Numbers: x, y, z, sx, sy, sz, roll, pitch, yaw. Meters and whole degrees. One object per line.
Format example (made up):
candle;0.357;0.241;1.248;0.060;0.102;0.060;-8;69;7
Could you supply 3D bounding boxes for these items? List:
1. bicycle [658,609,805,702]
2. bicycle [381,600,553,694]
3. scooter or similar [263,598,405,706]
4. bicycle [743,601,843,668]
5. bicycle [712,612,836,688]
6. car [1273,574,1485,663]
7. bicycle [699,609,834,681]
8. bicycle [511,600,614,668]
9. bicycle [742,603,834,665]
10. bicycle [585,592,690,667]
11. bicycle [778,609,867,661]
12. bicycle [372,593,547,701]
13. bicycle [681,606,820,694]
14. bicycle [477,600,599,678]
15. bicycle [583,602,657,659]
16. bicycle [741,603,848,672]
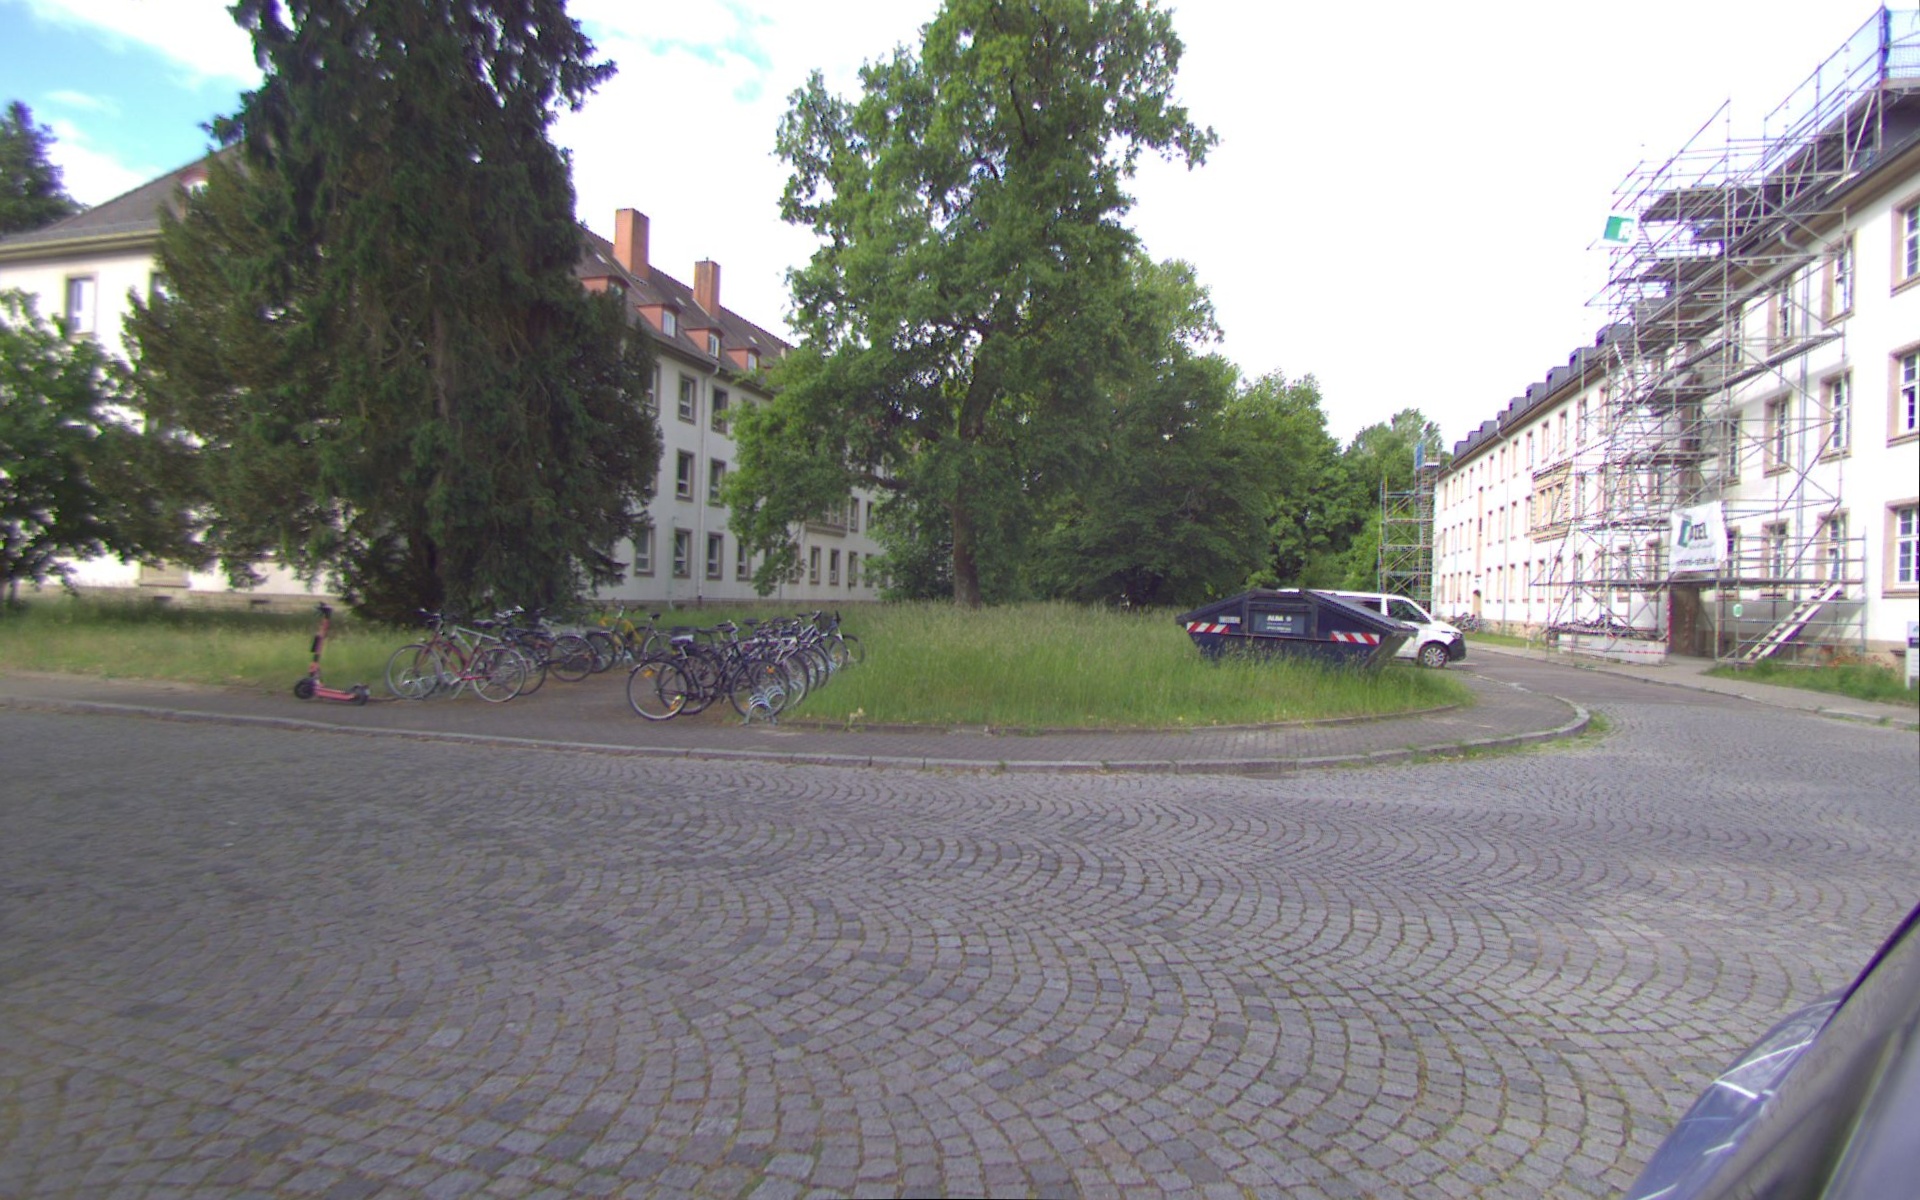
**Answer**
bicycle;-2.908;0.703;13.005;1.739;1.117;0.703;0;2;-2
bicycle;-6.481;0.611;13.361;1.953;1.128;0.644;2;2;-2
scooter or similar;-7.592;0.600;12.280;1.534;1.210;0.677;1;1;21
bicycle;-2.917;0.598;17.730;1.669;1.130;0.542;0;2;-2
bicycle;-2.639;0.705;14.452;1.664;1.014;0.633;0;2;-2
car;11.515;0.469;28.279;5.146;2.086;2.176;3;0;17
bicycle;-2.903;0.664;15.318;1.922;1.017;0.687;0;2;-2
bicycle;-6.472;0.558;16.523;1.484;1.048;0.546;1;2;-13
bicycle;-3.096;0.603;18.270;1.590;1.072;0.527;0;2;-2
bicycle;-5.498;0.499;17.310;1.610;1.200;0.575;1;2;-8
bicycle;-2.546;0.651;18.827;1.590;0.922;0.527;0;2;-2
bicycle;-6.255;0.578;12.705;1.864;1.238;0.644;2;2;-2
bicycle;-2.818;0.668;13.751;1.764;1.117;0.703;0;2;-2
bicycle;-6.239;0.574;15.023;1.595;1.086;0.541;1;2;-13
bicycle;-6.392;0.578;19.071;1.239;1.042;0.434;0;-2;-2
bicycle;-2.793;0.625;17.191;1.742;1.118;0.542;0;2;-2
